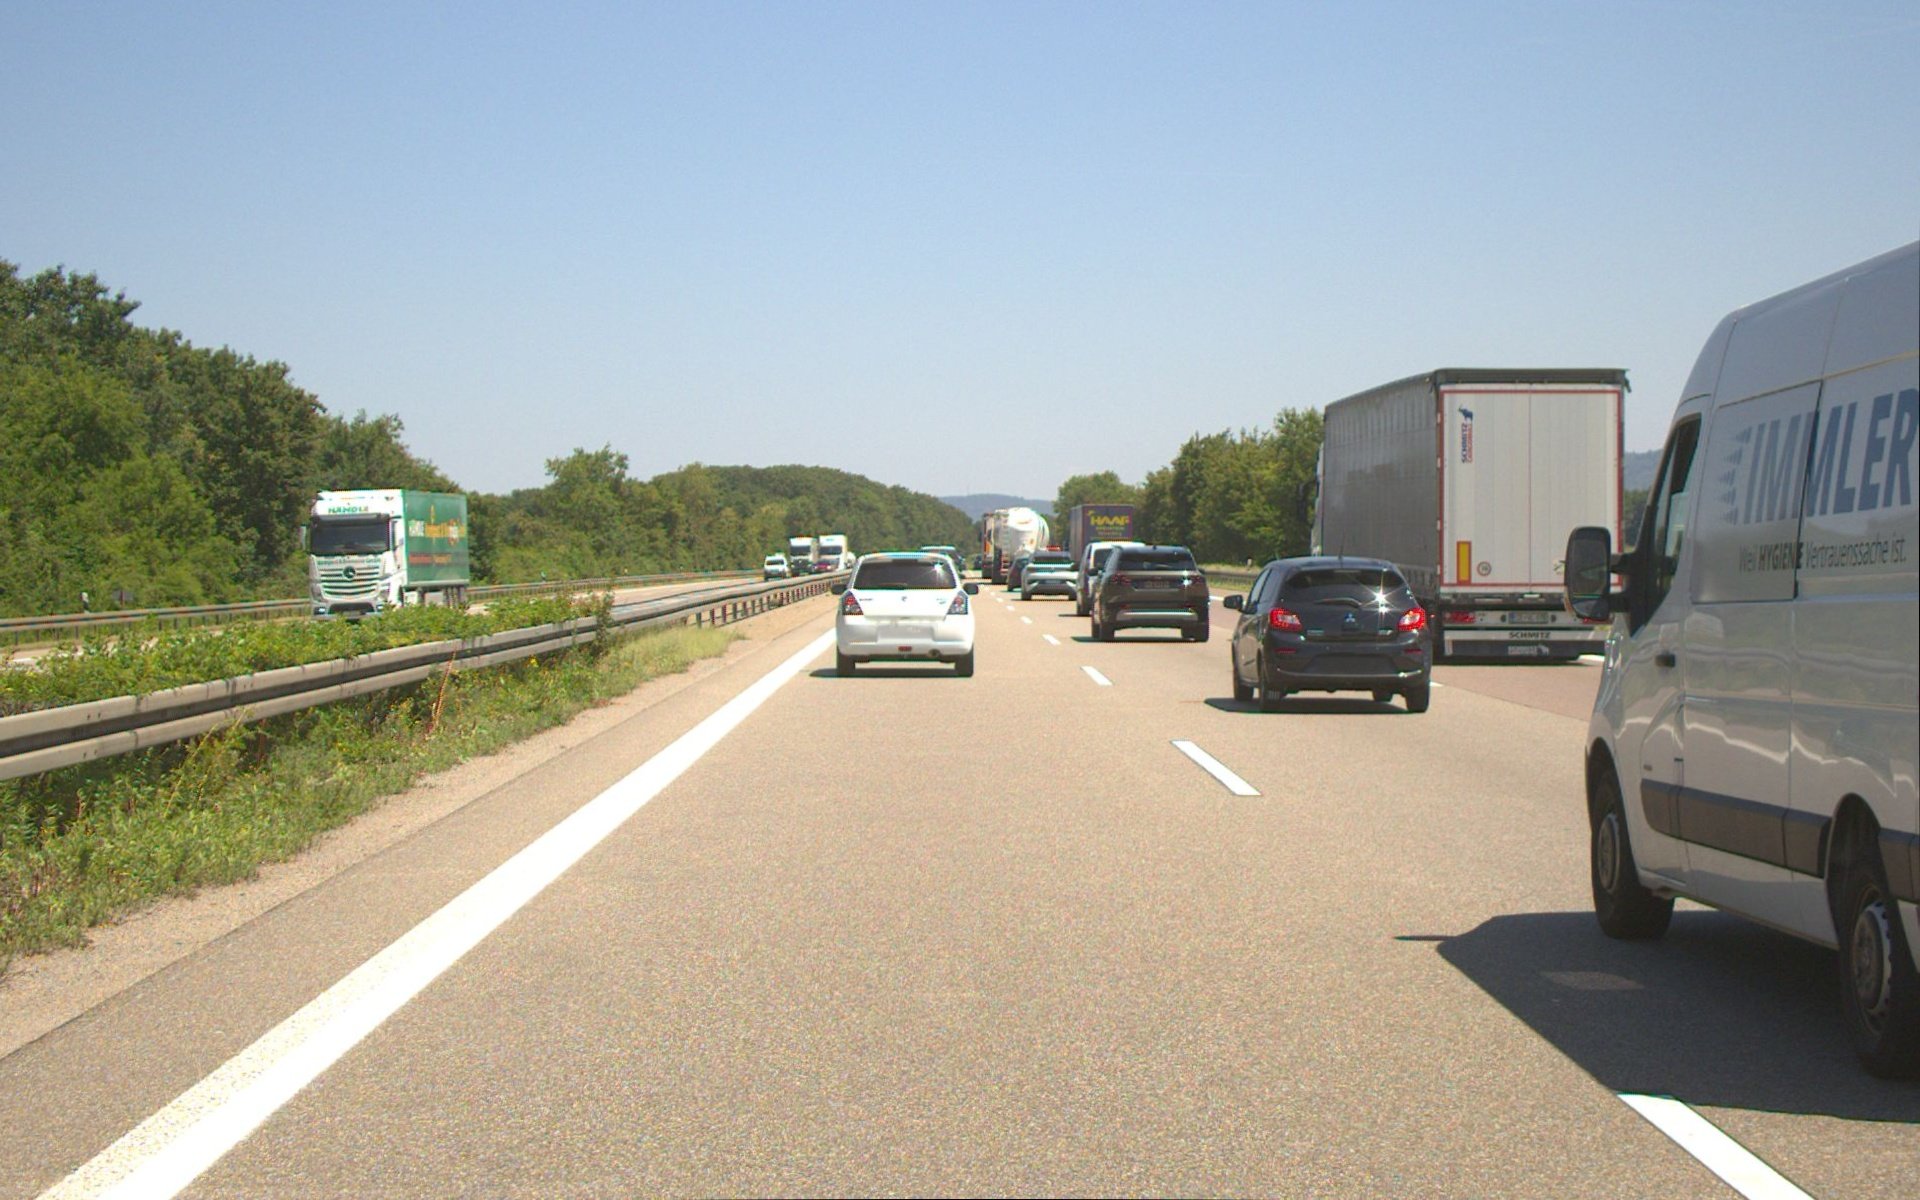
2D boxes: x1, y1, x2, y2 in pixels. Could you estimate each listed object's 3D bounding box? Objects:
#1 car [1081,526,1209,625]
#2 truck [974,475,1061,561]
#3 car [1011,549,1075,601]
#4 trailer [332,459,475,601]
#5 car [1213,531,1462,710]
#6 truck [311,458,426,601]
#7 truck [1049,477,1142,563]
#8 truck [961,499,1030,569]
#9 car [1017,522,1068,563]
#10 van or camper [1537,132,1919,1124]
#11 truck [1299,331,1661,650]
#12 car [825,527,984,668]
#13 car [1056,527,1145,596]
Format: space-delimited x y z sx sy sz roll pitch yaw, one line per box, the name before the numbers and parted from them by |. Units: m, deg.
car | 3.184 -0.452 59.713 1.857 1.646 4.001 0 1 -2
truck | 2.873 -4.207 178.304 3.257 4.194 16.846 1 1 -3
car | 2.707 -0.837 113.210 1.857 1.646 4.001 0 1 -2
trailer | -17.498 -2.226 108.944 2.446 4.214 13.637 0 1 -1
car | 3.629 0.151 33.726 1.857 1.646 4.001 0 1 -2
truck | -17.423 -2.079 101.540 2.417 4.079 5.881 0 1 -1
truck | 6.953 -4.146 179.430 3.257 4.194 16.846 1 1 -3
truck | 2.179 -4.211 217.537 3.257 4.194 16.846 1 1 -3
car | 3.351 -2.340 140.326 1.857 1.646 4.001 0 1 -2
van or camper | 3.533 0.022 11.732 2.058 2.613 5.985 0 1 -1
truck | 7.772 -1.618 54.317 3.079 4.194 16.844 1 1 0
car | -0.730 -0.070 42.926 1.857 1.646 4.001 1 1 -2
car | 3.399 -0.962 83.980 1.857 1.646 4.001 0 1 -2
